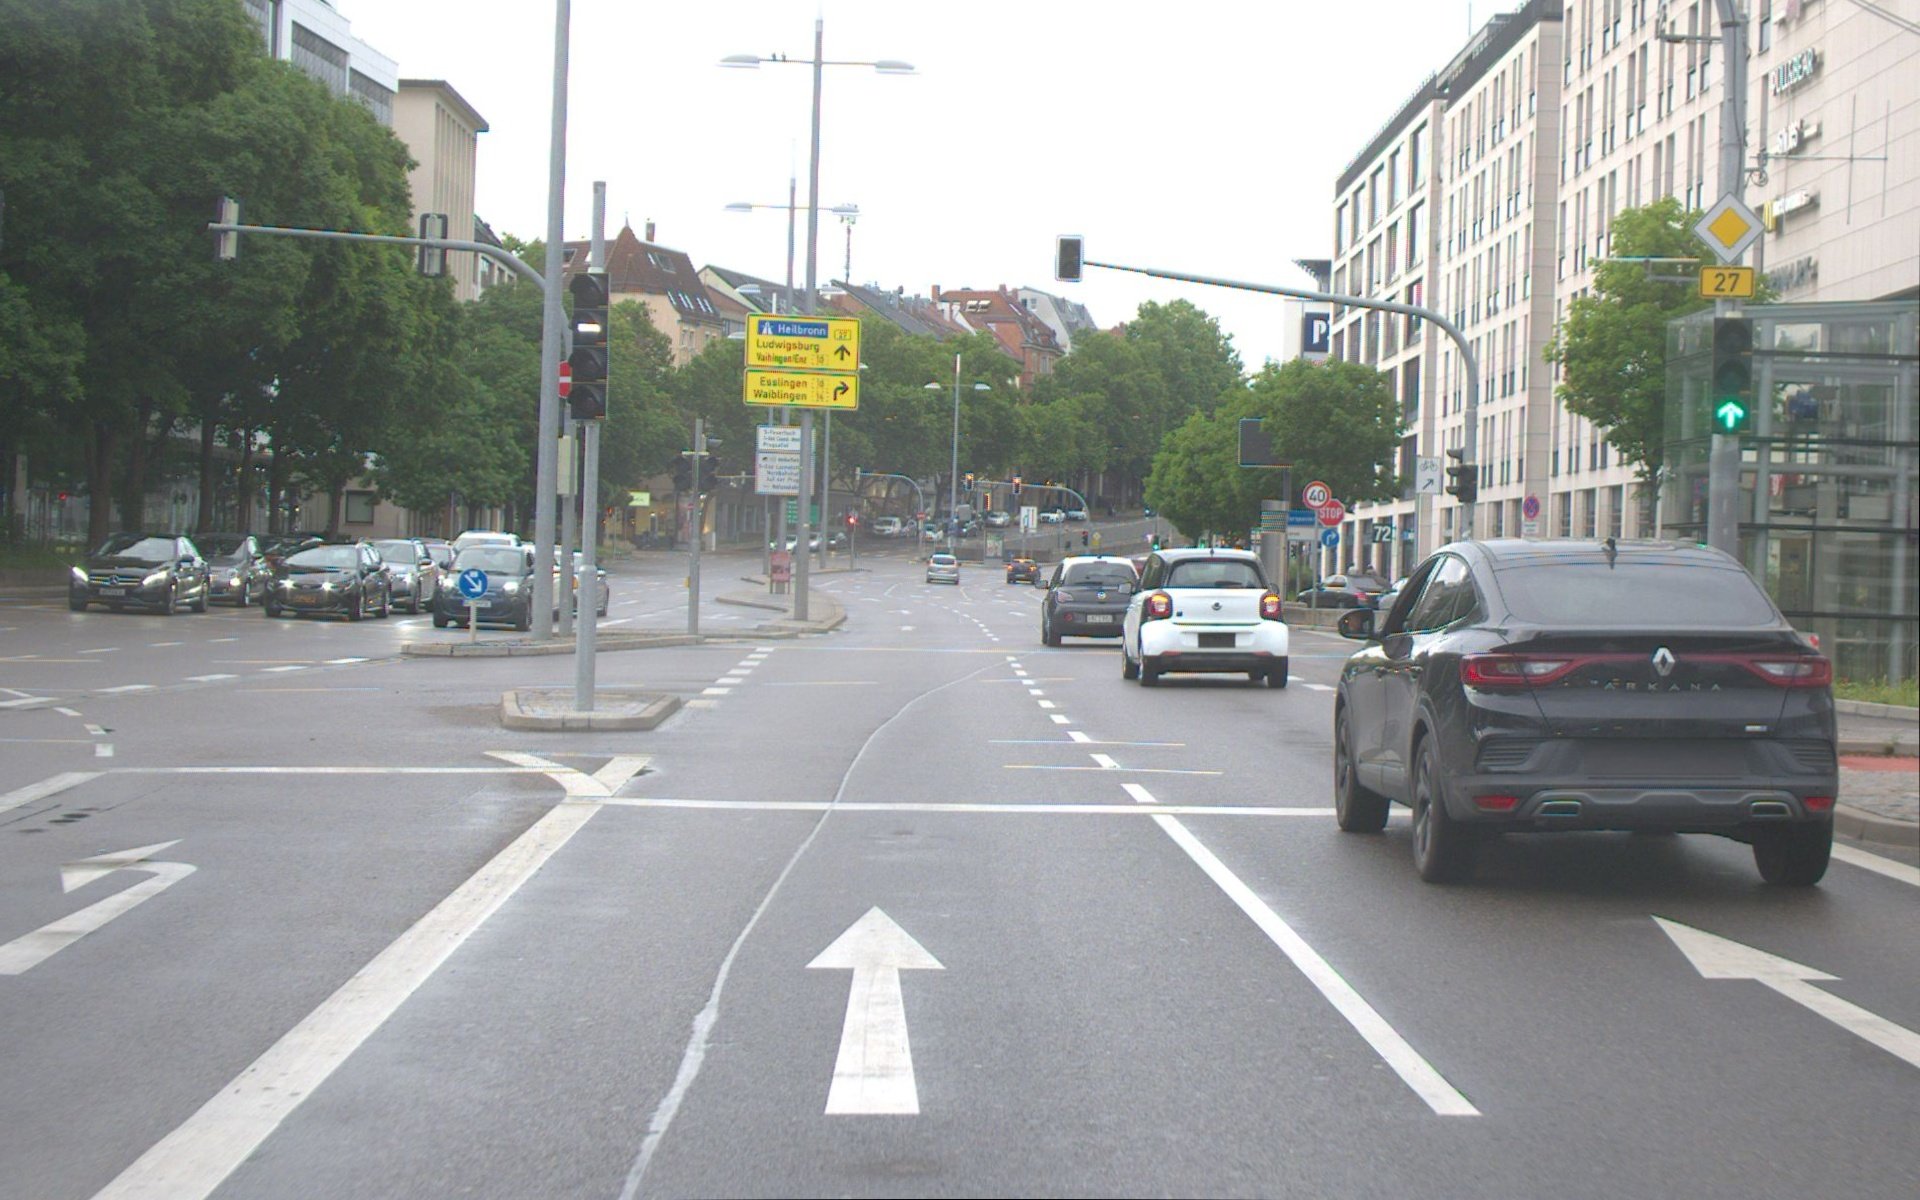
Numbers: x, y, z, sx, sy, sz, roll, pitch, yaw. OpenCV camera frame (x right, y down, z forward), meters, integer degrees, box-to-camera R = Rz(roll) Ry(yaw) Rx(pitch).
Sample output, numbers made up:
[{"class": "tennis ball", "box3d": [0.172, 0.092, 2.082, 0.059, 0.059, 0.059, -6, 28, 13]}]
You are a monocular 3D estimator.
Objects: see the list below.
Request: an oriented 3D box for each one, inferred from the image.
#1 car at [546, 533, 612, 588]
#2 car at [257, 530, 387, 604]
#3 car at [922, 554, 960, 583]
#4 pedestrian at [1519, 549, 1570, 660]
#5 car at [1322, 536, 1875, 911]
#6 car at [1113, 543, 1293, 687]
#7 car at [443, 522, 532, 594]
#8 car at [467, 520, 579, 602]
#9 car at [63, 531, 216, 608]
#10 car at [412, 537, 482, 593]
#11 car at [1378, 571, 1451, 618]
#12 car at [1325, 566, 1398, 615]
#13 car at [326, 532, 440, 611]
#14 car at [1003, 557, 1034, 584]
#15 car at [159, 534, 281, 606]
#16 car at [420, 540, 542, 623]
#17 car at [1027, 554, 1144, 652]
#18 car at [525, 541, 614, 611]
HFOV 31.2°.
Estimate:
[{"class": "car", "box3d": [-12.406, -1.275, 112.031, 1.743, 1.742, 3.540, 1, 0, 0]}, {"class": "car", "box3d": [-11.828, -0.632, 63.913, 1.743, 1.253, 3.540, 2, 2, 0]}, {"class": "car", "box3d": [-1.048, -1.725, 189.121, 1.739, 1.526, 3.815, 1, 1, -5]}, {"class": "pedestrian", "box3d": [9.673, 0.074, 56.861, 0.727, 1.826, 0.510, 1, 0, 0]}, {"class": "car", "box3d": [2.904, 0.477, 16.571, 1.791, 1.501, 4.339, 1, 2, -1]}, {"class": "car", "box3d": [2.706, 0.150, 39.002, 1.724, 1.526, 3.814, 1, 0, 0]}, {"class": "car", "box3d": [-11.830, -1.042, 86.237, 1.743, 1.742, 3.540, 1, 0, 0]}, {"class": "car", "box3d": [-8.695, -0.772, 68.724, 1.702, 1.553, 4.245, 1, 0, 0]}, {"class": "car", "box3d": [-14.762, -0.547, 62.047, 1.743, 1.324, 4.226, 1, 0, 0]}, {"class": "car", "box3d": [-16.527, -1.128, 110.905, 1.743, 1.742, 3.540, 1, 0, 0]}, {"class": "car", "box3d": [12.535, -0.160, 95.005, 1.506, 1.261, 3.502, 1, 0, 0]}, {"class": "car", "box3d": [11.717, -0.287, 100.540, 1.661, 1.396, 3.832, 1, 0, 0]}, {"class": "car", "box3d": [-11.822, -0.575, 70.562, 1.743, 1.553, 3.540, 1, 0, 0]}, {"class": "car", "box3d": [3.414, -1.726, 201.507, 1.740, 1.526, 3.814, 1, 0, 0]}, {"class": "car", "box3d": [-15.158, -0.607, 70.540, 1.743, 1.419, 3.540, 1, 0, 0]}, {"class": "car", "box3d": [-8.667, -0.340, 62.380, 1.743, 1.439, 3.395, 1, 0, 0]}, {"class": "car", "box3d": [2.021, 0.034, 56.375, 1.740, 1.526, 3.814, 1, 0, 0]}, {"class": "car", "box3d": [-8.509, -0.519, 75.138, 1.538, 1.472, 3.696, 1, 0, 0]}]
